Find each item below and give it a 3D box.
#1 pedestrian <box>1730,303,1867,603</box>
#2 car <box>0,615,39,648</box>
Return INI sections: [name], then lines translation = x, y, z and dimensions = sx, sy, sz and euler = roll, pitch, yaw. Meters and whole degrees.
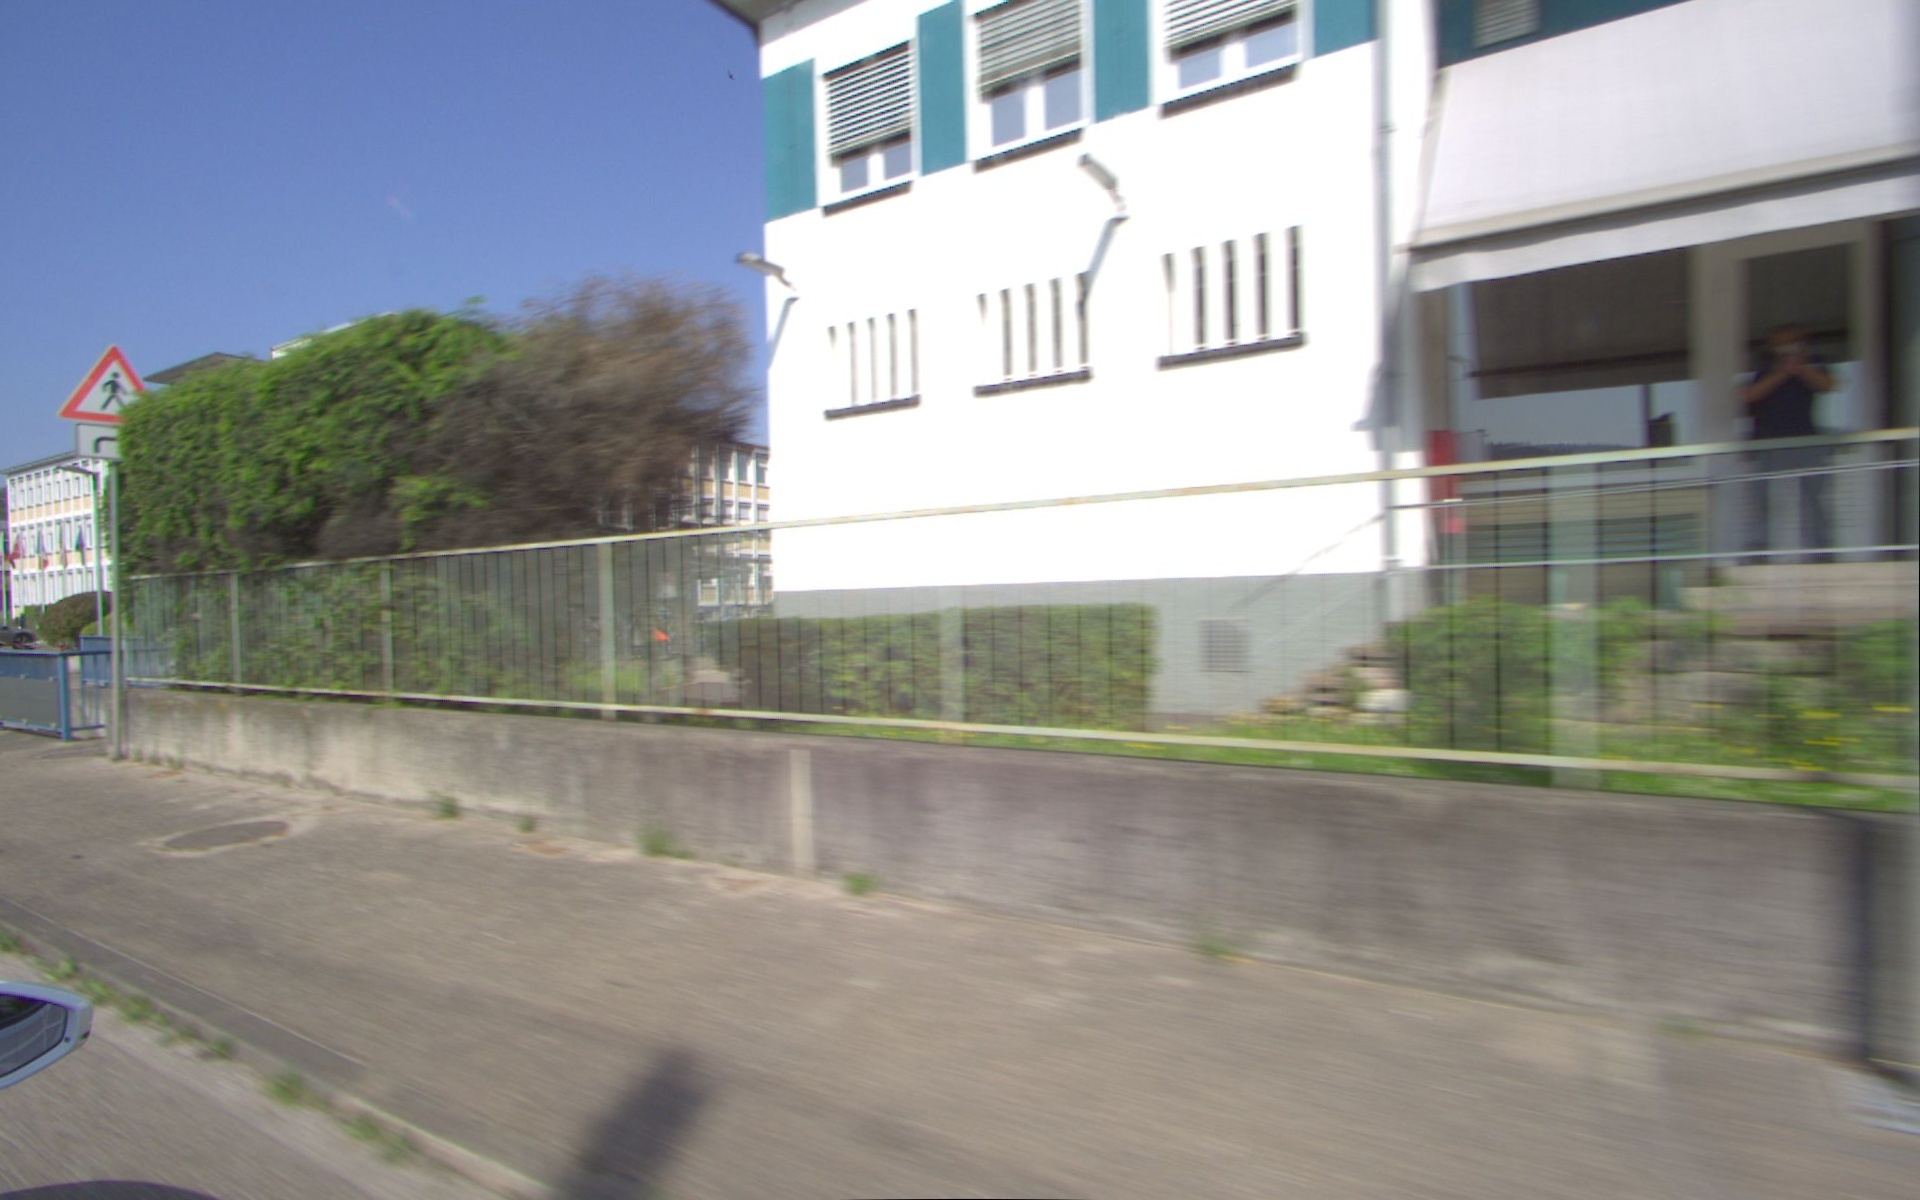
[pedestrian]
translation = 6.123, -1.003, 7.352
dimensions = 0.672, 2.040, 0.733
euler = 0, 0, 32
[car]
translation = -45.398, 1.490, 46.104
dimensions = 1.849, 1.525, 4.310
euler = -1, 0, 4
